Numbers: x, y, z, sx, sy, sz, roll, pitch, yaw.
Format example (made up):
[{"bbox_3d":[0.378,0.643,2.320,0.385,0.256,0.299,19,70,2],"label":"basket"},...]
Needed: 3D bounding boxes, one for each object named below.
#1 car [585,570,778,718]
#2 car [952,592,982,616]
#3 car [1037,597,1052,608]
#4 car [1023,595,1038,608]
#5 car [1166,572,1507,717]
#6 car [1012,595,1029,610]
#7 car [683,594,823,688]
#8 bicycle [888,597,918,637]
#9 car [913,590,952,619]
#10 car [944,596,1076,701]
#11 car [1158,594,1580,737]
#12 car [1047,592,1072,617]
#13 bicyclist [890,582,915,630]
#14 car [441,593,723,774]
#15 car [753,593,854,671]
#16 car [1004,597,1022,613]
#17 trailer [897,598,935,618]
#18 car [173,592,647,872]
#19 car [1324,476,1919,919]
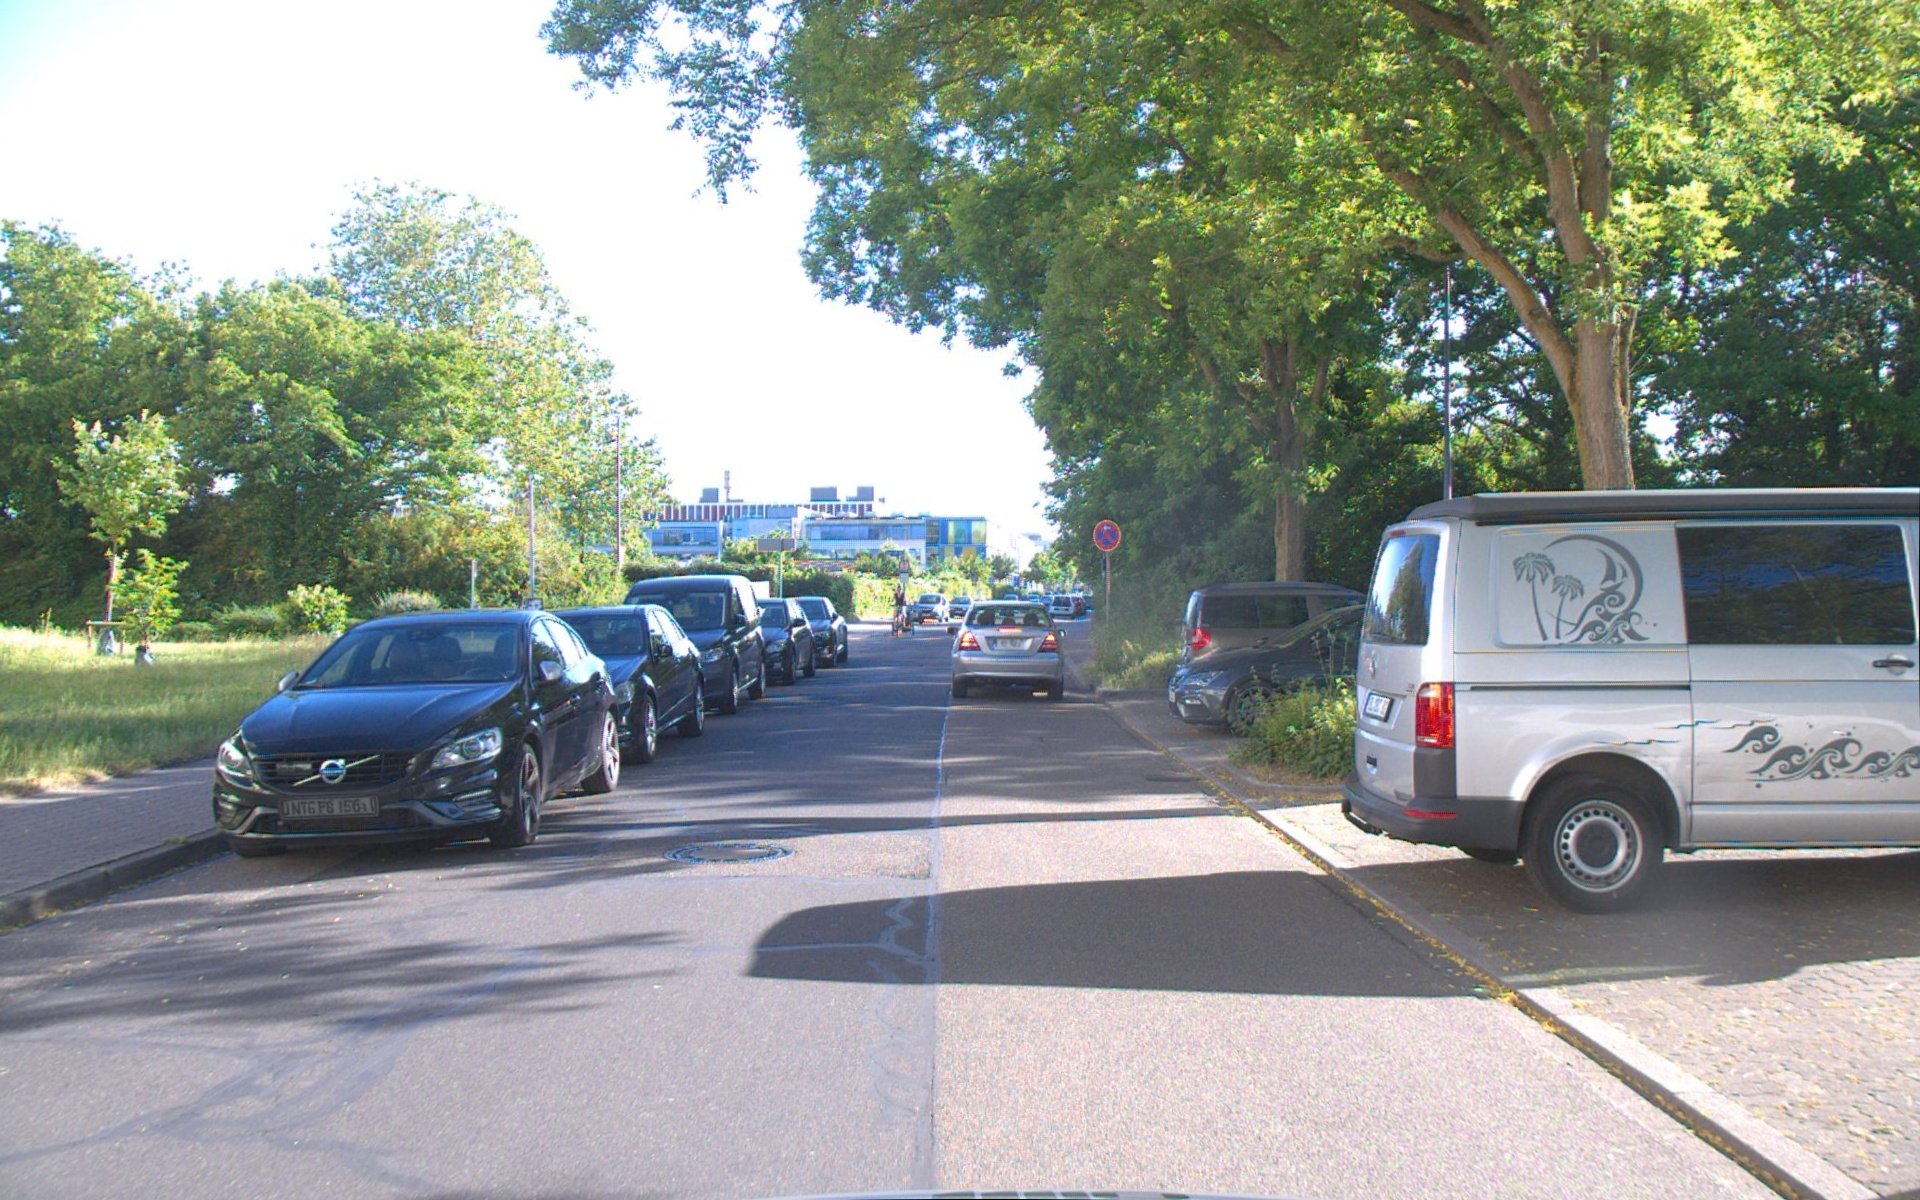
[{"bbox_3d":[-3.784,0.548,23.312,1.802,1.811,4.888,-2,0,0],"label":"car"},{"bbox_3d":[0.528,0.289,112.559,1.608,1.583,4.420,-1,0,6],"label":"car"},{"bbox_3d":[11.408,0.279,223.733,1.815,1.453,4.137,1,0,6],"label":"car"},{"bbox_3d":[8.282,0.157,194.304,1.526,1.521,3.761,-1,0,6],"label":"car"},{"bbox_3d":[4.820,0.556,21.607,4.062,1.725,1.775,-1,0,2],"label":"car"},{"bbox_3d":[6.503,0.233,177.340,1.527,1.521,3.573,2,0,6],"label":"car"},{"bbox_3d":[-3.648,0.685,29.779,1.801,1.479,4.020,-2,1,3],"label":"car"},{"bbox_3d":[-2.024,0.605,59.291,0.833,1.394,3.221,0,0,2],"label":"bicycle"},{"bbox_3d":[-1.552,0.256,94.902,1.608,1.628,4.315,1,0,8],"label":"car"},{"bbox_3d":[0.697,0.687,25.543,1.703,1.478,3.997,1,0,-3],"label":"car"},{"bbox_3d":[4.561,0.714,18.897,4.360,1.439,1.775,-1,0,-1],"label":"car"},{"bbox_3d":[6.731,0.298,111.928,1.523,1.565,3.558,2,0,6],"label":"car"},{"bbox_3d":[-2.050,0.210,58.856,0.827,1.687,1.065,0,0,2],"label":"bicyclist"},{"bbox_3d":[-3.689,0.739,17.022,1.802,1.507,4.574,-3,0,0],"label":"car"},{"bbox_3d":[-3.342,0.650,36.131,1.692,1.489,4.683,-2,1,0],"label":"car"},{"bbox_3d":[5.111,0.451,159.237,1.526,1.521,3.573,-1,0,6],"label":"car"},{"bbox_3d":[-2.242,0.417,84.685,1.511,0.970,2.649,1,0,8],"label":"trailer"},{"bbox_3d":[-3.523,0.730,11.641,1.803,1.507,4.799,-2,0,-1],"label":"car"},{"bbox_3d":[4.380,0.434,8.934,4.359,2.052,2.021,-2,0,1],"label":"car"}]
